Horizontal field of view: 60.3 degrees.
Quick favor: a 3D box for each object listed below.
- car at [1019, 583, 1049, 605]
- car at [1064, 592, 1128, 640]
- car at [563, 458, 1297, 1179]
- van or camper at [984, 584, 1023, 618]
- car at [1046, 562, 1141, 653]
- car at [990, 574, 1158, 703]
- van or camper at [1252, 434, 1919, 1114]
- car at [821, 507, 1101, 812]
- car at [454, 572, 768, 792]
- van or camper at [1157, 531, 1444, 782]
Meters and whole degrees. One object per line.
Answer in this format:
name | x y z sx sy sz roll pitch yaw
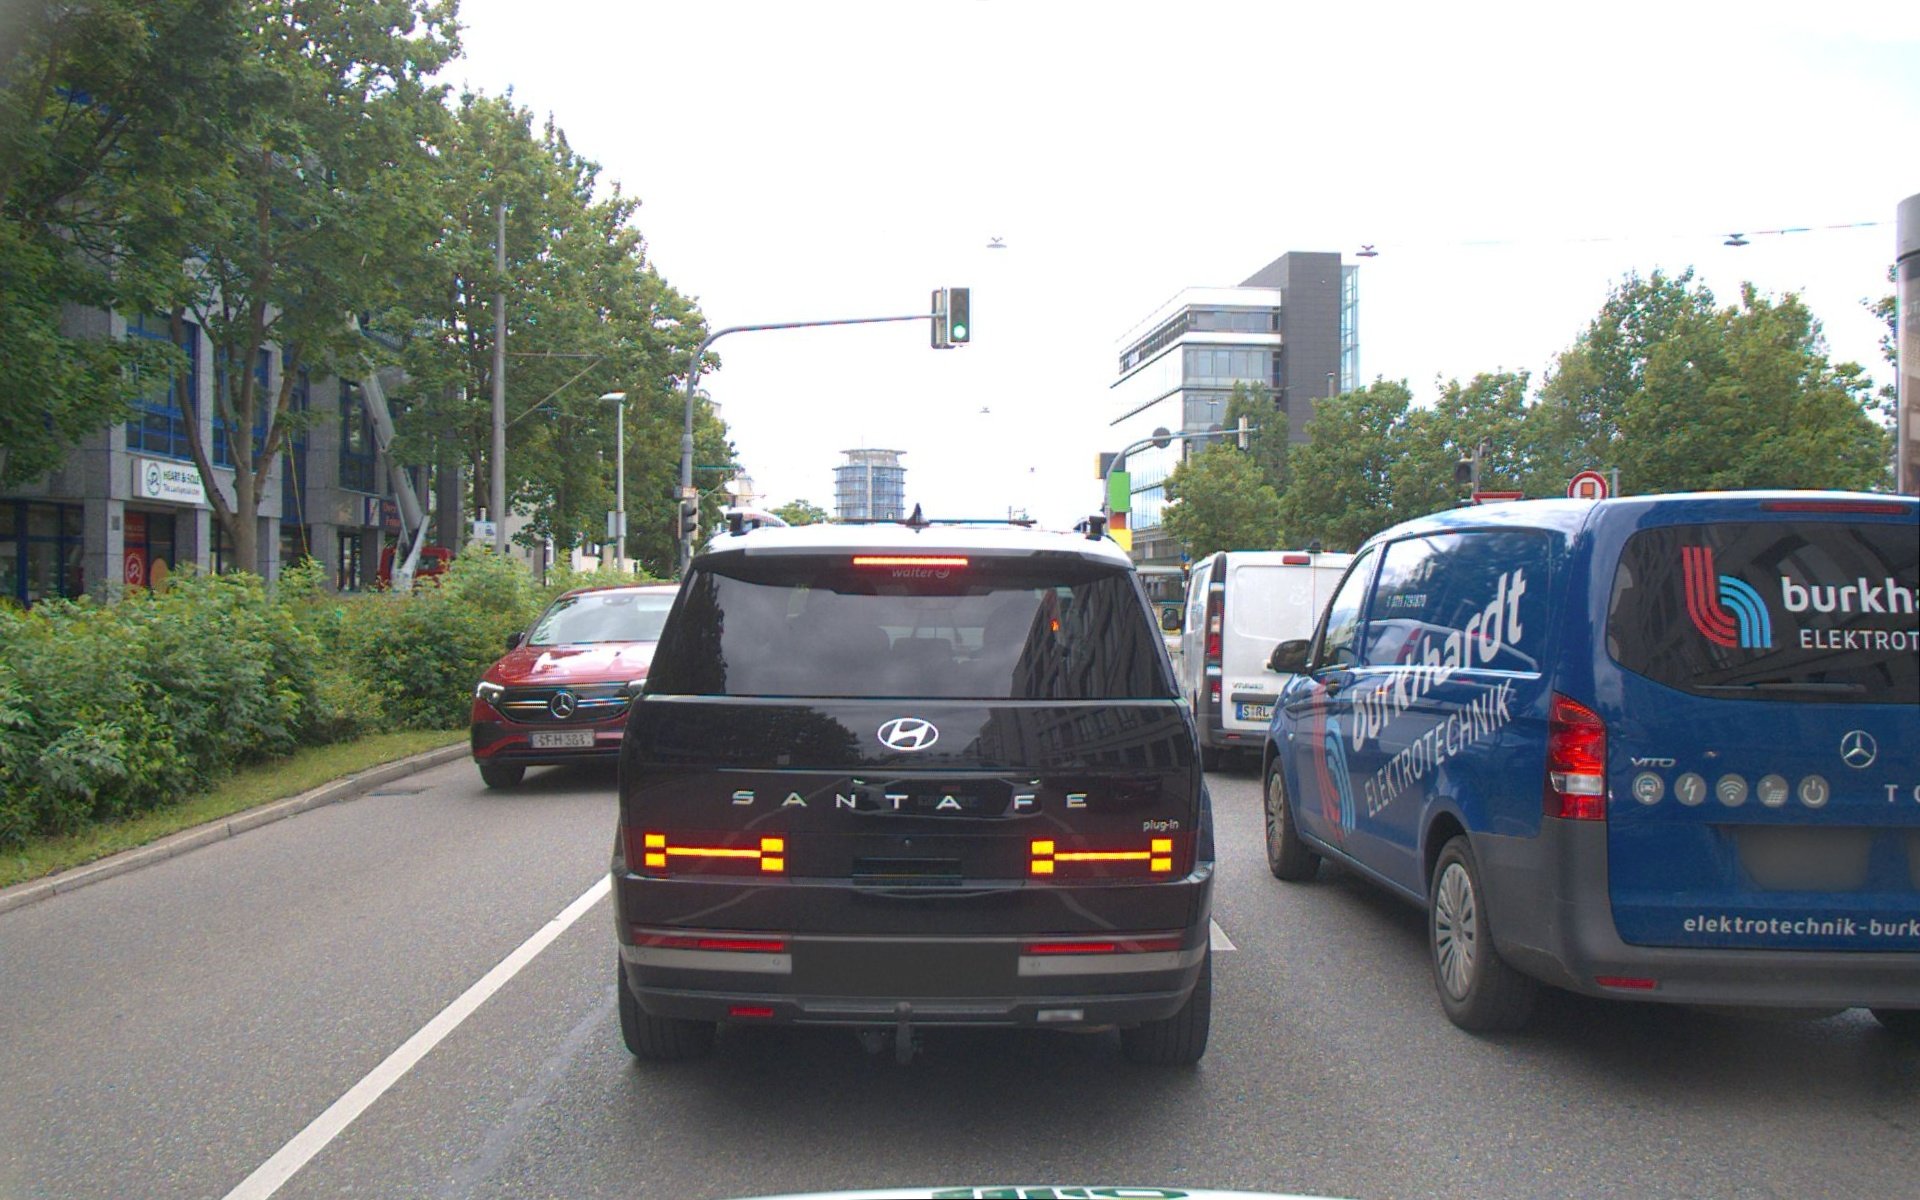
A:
car | 5.865 -0.466 131.191 1.954 1.713 3.997 1 0 -3
car | 4.915 0.584 60.277 1.953 1.646 3.999 1 0 -1
car | -0.096 0.535 6.073 1.831 1.791 3.879 0 0 -1
van or camper | 3.464 0.120 130.489 1.951 2.591 6.583 1 0 12
car | 3.136 0.184 39.601 1.952 2.049 4.000 1 0 0
car | 1.813 0.546 24.912 1.738 1.747 4.341 1 0 14
van or camper | 2.666 0.488 7.266 1.822 1.944 5.031 0 0 -1
car | -0.020 0.390 13.036 1.876 2.038 3.879 0 0 -1
car | -2.909 0.638 14.694 1.809 1.608 4.116 -2 0 1
van or camper | 3.086 0.462 15.998 1.952 2.049 4.654 1 0 2
